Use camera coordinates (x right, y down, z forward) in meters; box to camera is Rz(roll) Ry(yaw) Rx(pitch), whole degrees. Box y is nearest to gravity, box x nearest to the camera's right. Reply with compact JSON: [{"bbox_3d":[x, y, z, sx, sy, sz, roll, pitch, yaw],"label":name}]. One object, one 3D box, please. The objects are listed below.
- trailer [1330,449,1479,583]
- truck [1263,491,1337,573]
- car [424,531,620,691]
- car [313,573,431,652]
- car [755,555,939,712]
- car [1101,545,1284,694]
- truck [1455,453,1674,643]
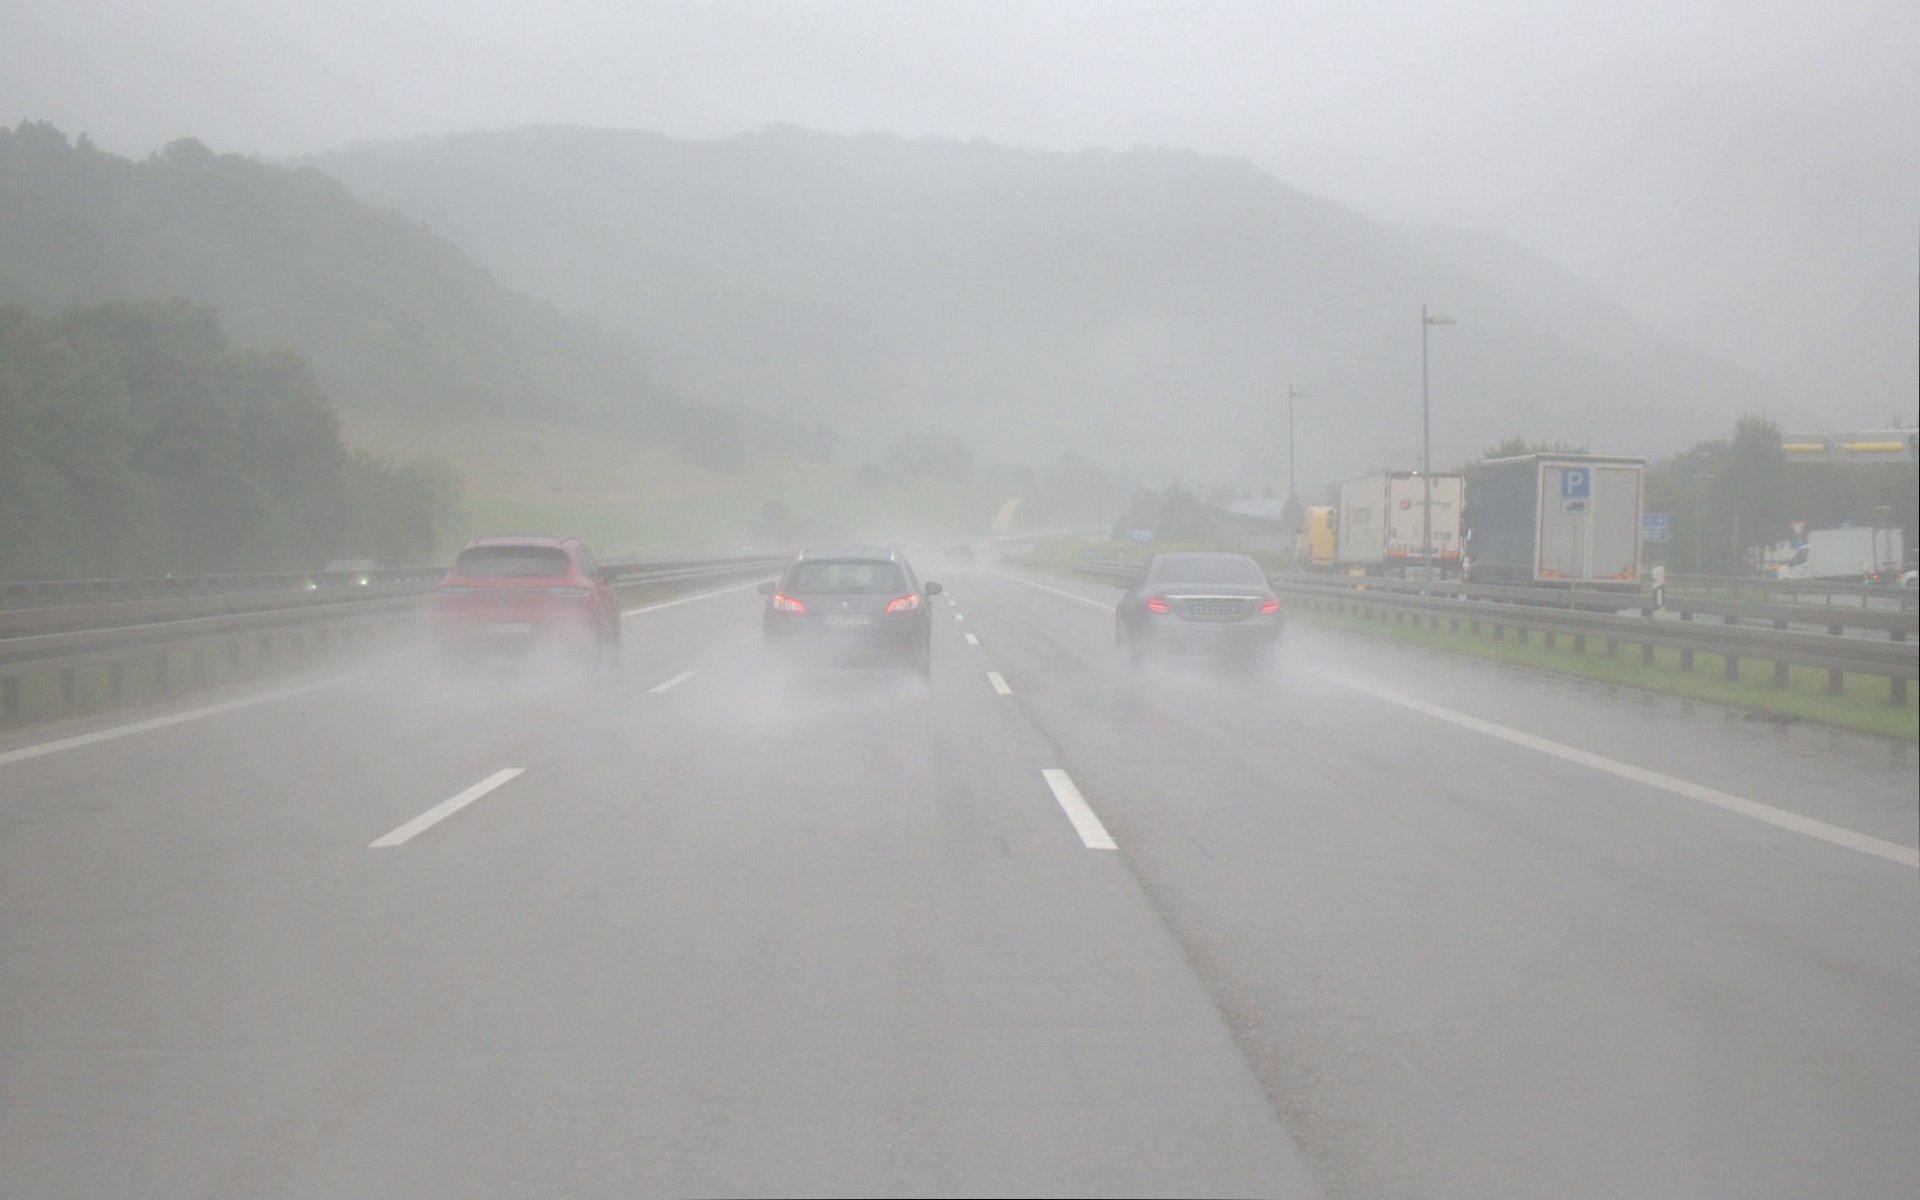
[{"bbox_3d":[14.914,-2.772,116.332,3.516,4.247,11.920,1,1,0],"label":"trailer"},{"bbox_3d":[13.695,-2.707,138.995,2.291,3.136,8.863,1,1,1],"label":"truck"},{"bbox_3d":[-5.134,0.085,40.733,1.884,1.809,4.000,0,1,-1],"label":"car"},{"bbox_3d":[-17.673,0.350,103.640,2.627,2.220,5.998,0,1,-1],"label":"car"},{"bbox_3d":[-1.180,0.324,37.415,1.859,1.584,4.000,1,1,0],"label":"car"},{"bbox_3d":[2.852,0.198,42.947,1.971,1.754,4.000,1,1,0],"label":"car"},{"bbox_3d":[14.991,-1.331,86.234,3.401,4.387,11.049,1,1,0],"label":"truck"}]
